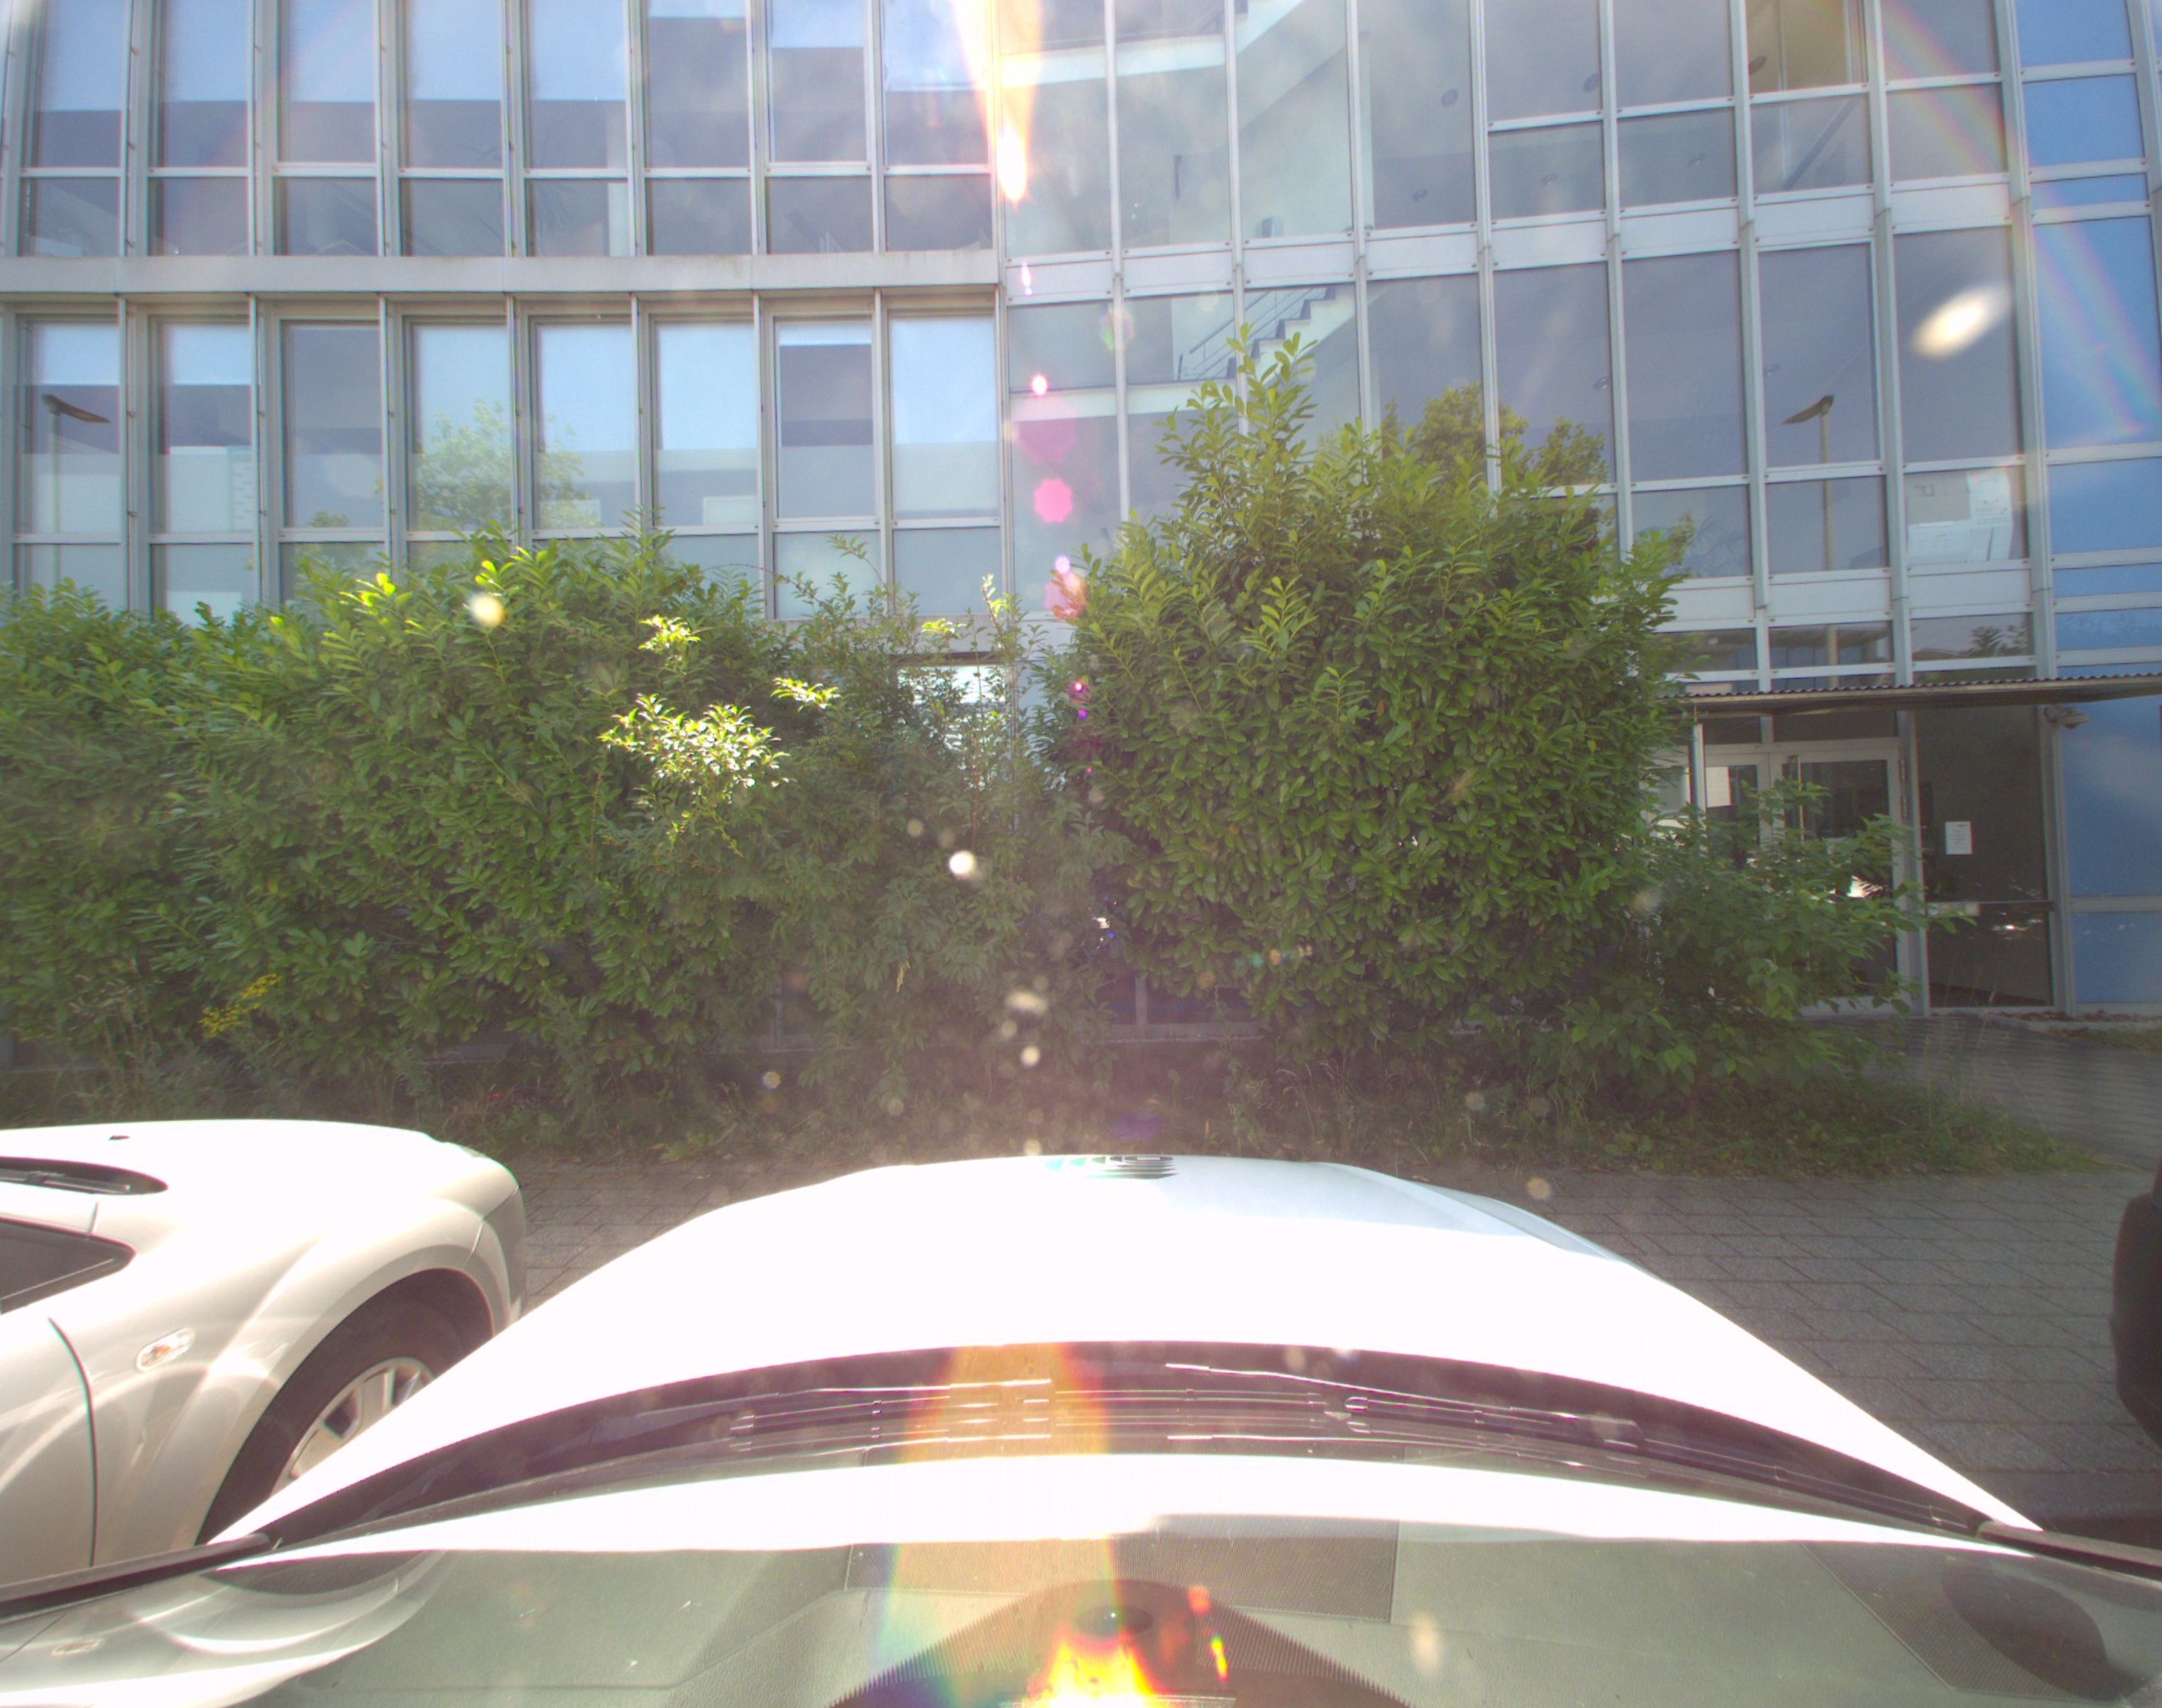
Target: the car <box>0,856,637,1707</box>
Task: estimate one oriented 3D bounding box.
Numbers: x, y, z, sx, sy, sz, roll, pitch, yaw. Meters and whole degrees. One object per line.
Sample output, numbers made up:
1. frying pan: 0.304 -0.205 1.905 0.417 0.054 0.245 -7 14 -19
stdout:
1. car: -2.172 0.751 0.150 1.713 1.479 4.349 -1 0 1
